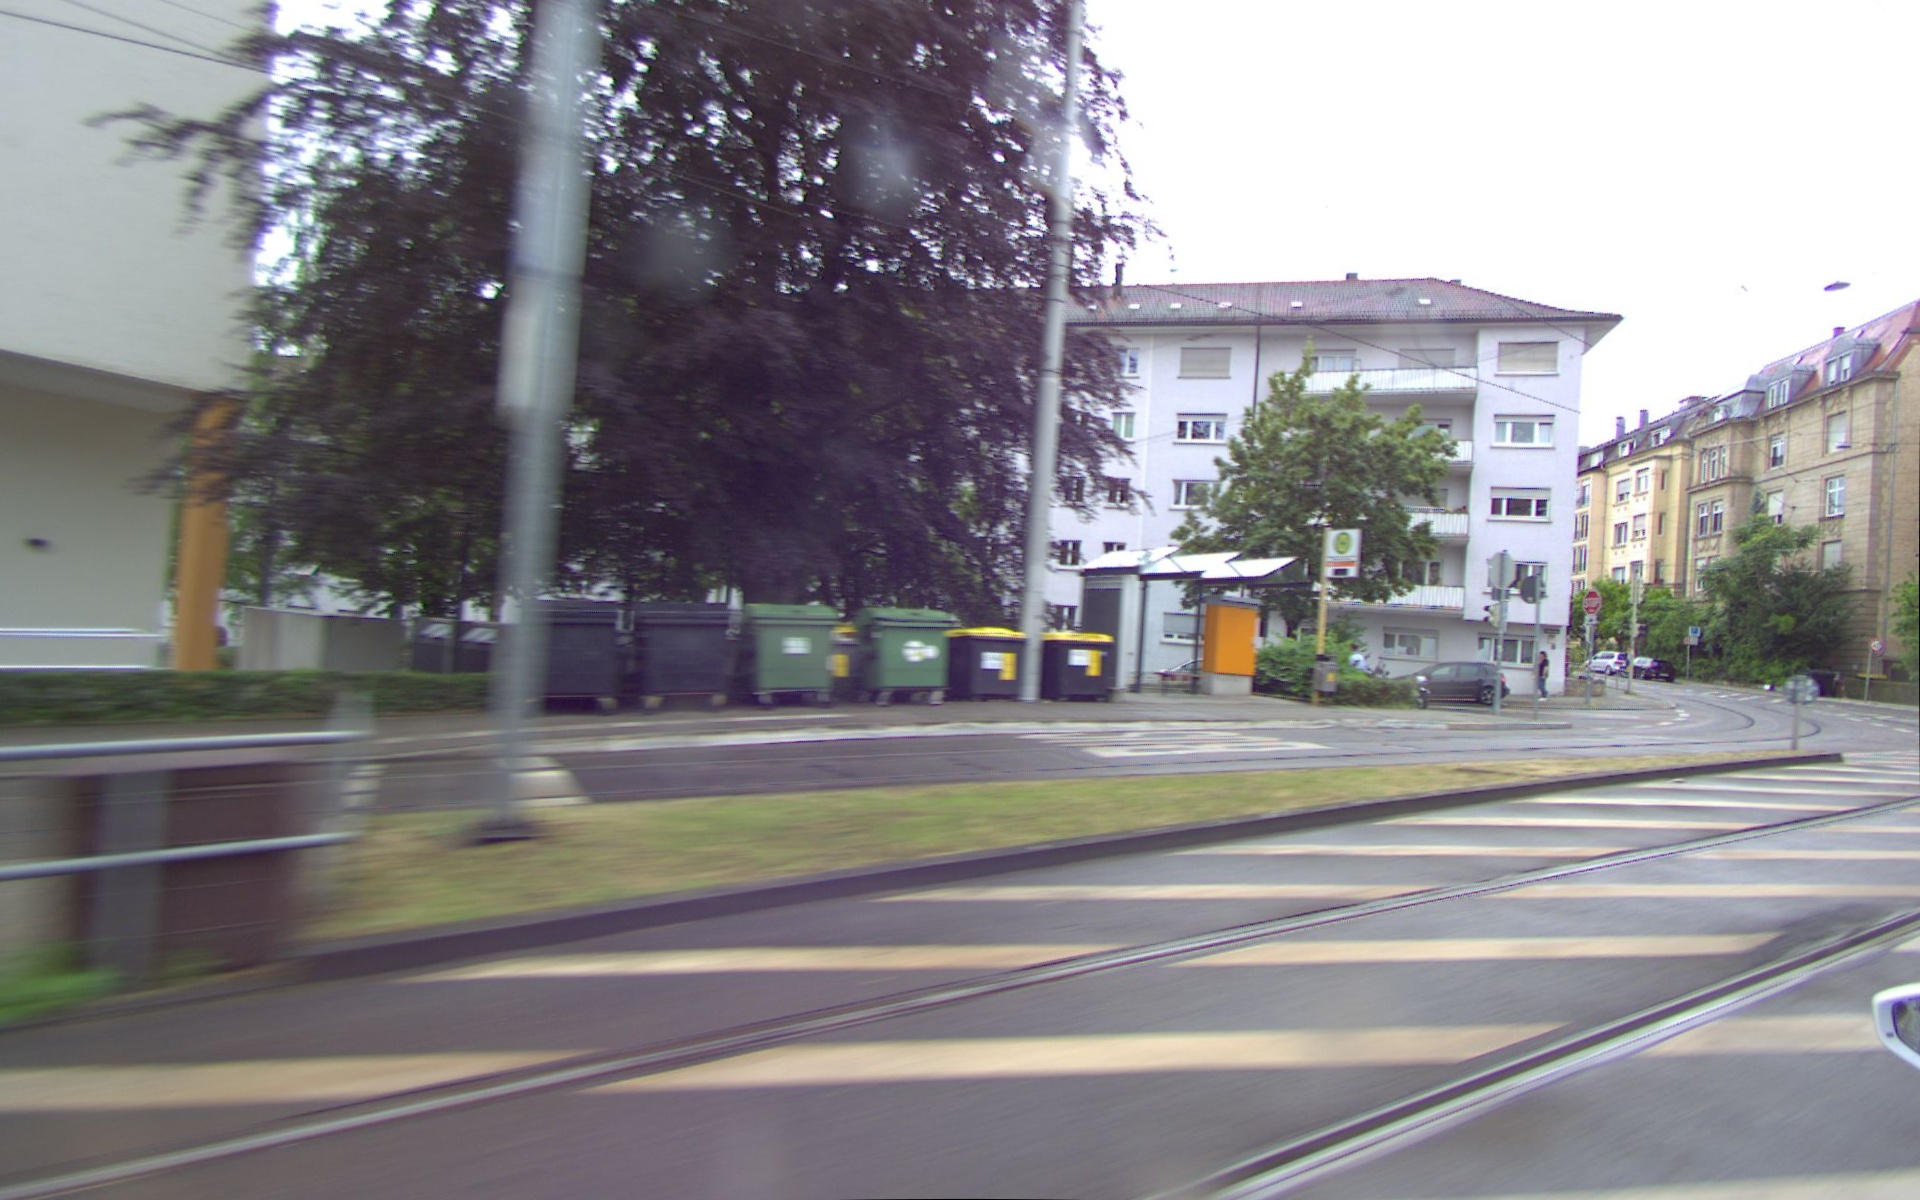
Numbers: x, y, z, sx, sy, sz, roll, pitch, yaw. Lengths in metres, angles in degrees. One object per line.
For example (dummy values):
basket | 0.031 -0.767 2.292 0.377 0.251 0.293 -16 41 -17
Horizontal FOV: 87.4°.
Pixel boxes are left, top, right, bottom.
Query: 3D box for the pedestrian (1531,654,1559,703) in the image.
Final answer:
pedestrian | 21.977 2.940 37.733 0.730 1.723 0.673 2 2 19

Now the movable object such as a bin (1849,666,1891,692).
movable object such as a bin | 49.573 4.298 54.737 1.196 1.326 1.169 2 0 10

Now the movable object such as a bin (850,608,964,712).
movable object such as a bin | -0.805 0.868 15.128 1.409 1.453 1.017 1 2 -28

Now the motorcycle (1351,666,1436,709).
motorcycle | 12.021 2.429 27.889 2.080 1.063 0.485 2 0 9

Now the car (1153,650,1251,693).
car | 9.595 2.818 39.922 3.673 1.460 1.621 2 -2 13

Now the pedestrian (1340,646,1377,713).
pedestrian | 10.366 2.066 26.149 0.768 1.706 0.564 3 -2 -37

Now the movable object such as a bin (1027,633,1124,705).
movable object such as a bin | 2.021 1.186 17.596 1.326 1.153 1.017 1 2 -28

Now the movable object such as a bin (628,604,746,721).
movable object such as a bin | -3.683 0.802 13.521 1.338 1.453 1.017 1 2 -28

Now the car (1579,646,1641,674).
car | 44.896 4.150 69.501 1.736 1.625 4.290 3 0 5

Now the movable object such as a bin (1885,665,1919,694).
movable object such as a bin | 51.306 4.292 54.436 1.209 1.444 1.309 2 0 10

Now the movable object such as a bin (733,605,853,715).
movable object such as a bin | -2.387 0.822 14.316 1.426 1.453 1.017 1 2 -28

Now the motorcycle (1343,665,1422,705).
motorcycle | 12.640 2.545 30.068 2.080 1.063 0.485 2 2 9

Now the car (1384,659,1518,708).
car | 18.221 3.091 37.471 4.167 1.474 1.856 1 1 16

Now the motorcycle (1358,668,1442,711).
motorcycle | 12.459 2.532 28.468 2.080 1.063 0.485 2 2 9

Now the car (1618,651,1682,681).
car | 44.185 4.202 64.396 1.736 1.409 4.002 5 2 9

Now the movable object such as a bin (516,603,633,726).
movable object such as a bin | -4.945 0.793 12.862 1.287 1.453 1.017 1 2 -28

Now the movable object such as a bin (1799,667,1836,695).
movable object such as a bin | 46.811 4.417 54.835 1.204 1.422 0.823 2 2 2

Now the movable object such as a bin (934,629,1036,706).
movable object such as a bin | 0.405 1.080 16.556 1.326 1.153 1.017 1 2 -28

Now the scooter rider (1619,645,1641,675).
scooter rider | 41.587 3.726 62.356 0.613 1.728 0.843 6 1 -2

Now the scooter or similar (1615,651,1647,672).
scooter or similar | 41.577 3.808 62.267 0.505 1.063 2.008 6 1 -2

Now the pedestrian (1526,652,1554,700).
pedestrian | 22.195 2.894 38.464 0.730 1.723 0.673 2 2 16
